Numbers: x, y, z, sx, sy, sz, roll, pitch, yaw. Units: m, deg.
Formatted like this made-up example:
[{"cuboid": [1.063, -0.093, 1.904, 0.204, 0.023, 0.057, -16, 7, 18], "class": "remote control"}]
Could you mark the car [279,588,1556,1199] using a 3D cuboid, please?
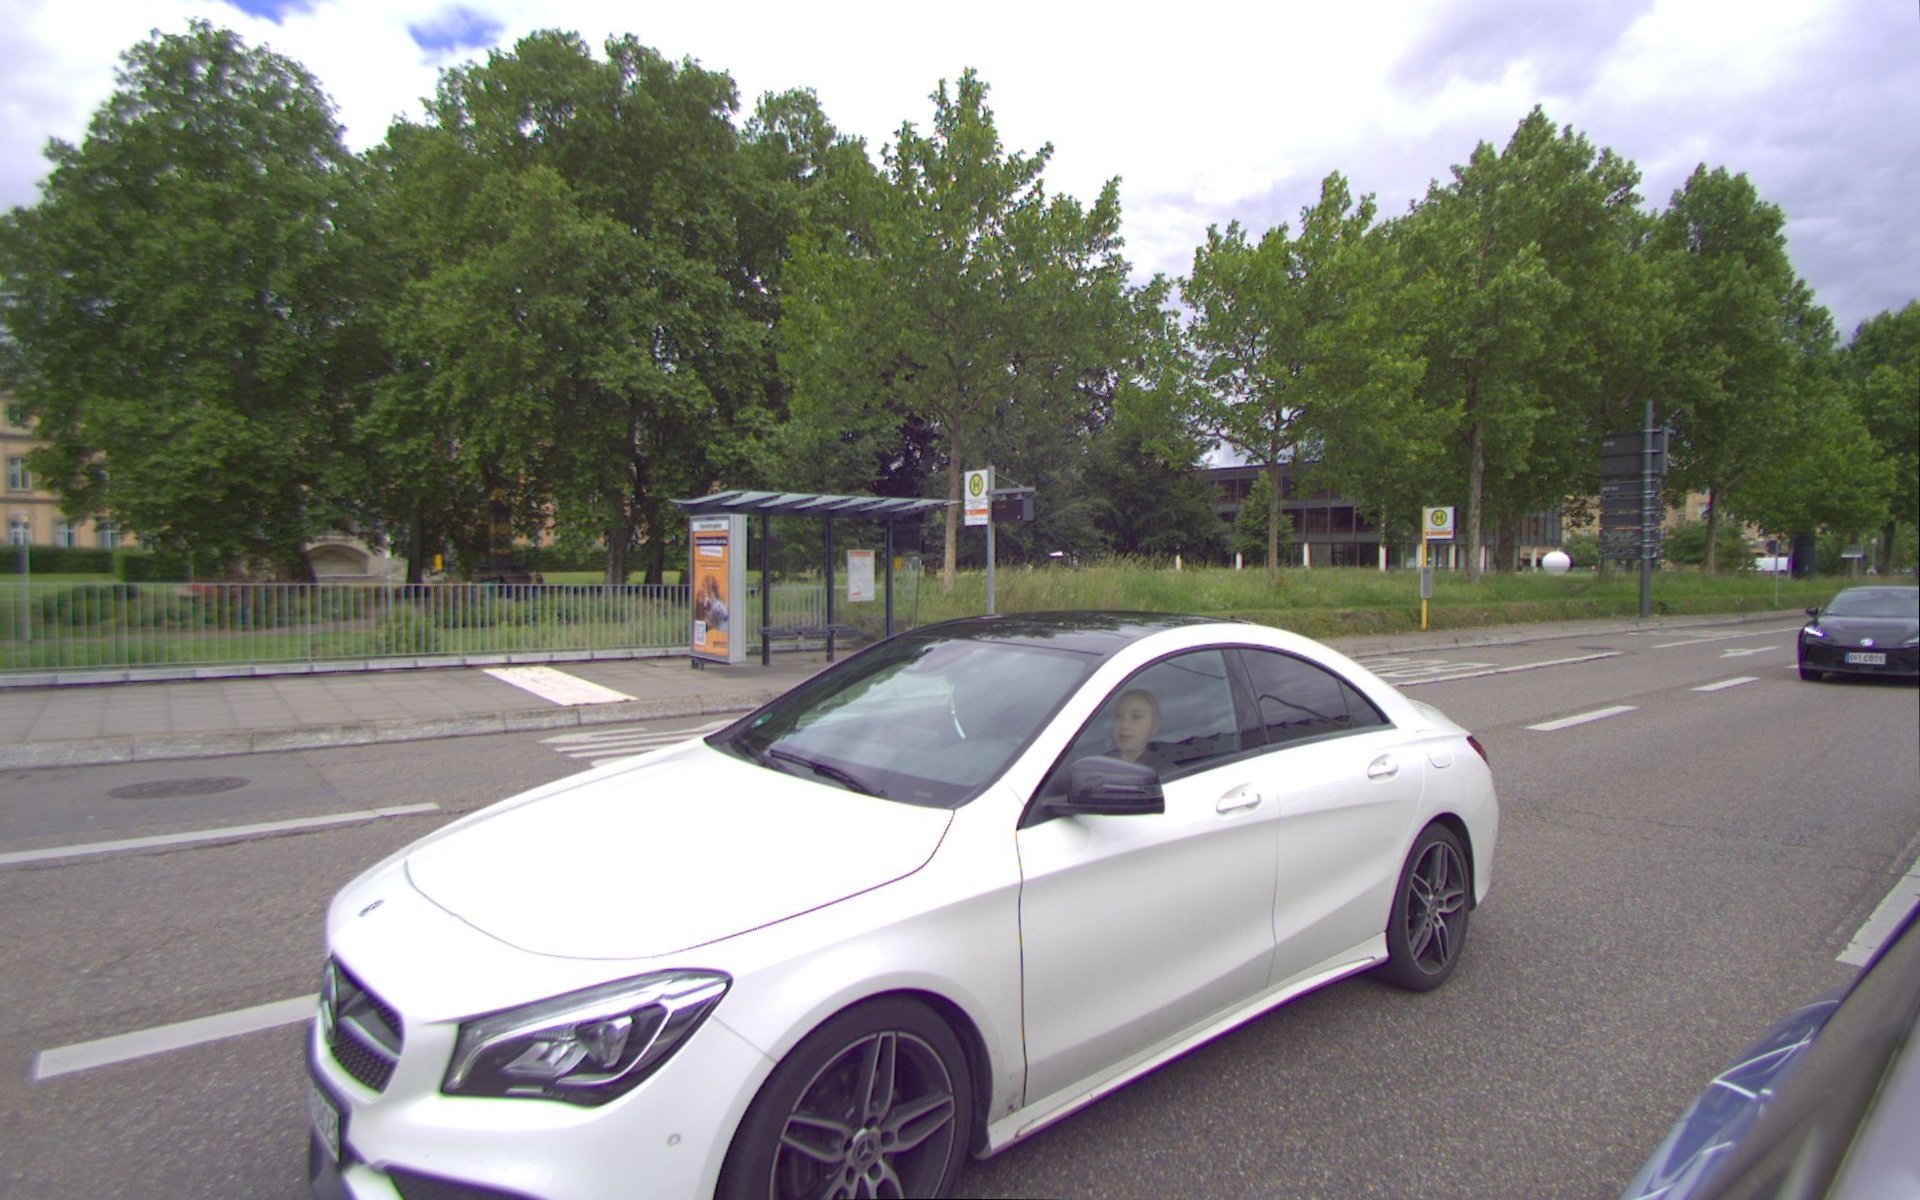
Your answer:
[{"cuboid": [0.294, 0.710, 3.667, 4.446, 1.437, 1.799, -1, 2, -39], "class": "car"}]

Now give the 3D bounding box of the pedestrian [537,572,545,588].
[{"cuboid": [-36.273, -1.757, 87.603, 0.401, 1.347, 0.465, -1, 0, 21], "class": "pedestrian"}]

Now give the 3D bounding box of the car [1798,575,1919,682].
[{"cuboid": [15.042, 0.371, 16.164, 4.020, 1.508, 1.852, -1, 2, -40], "class": "car"}]

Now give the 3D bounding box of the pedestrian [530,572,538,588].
[{"cuboid": [-37.070, -1.739, 87.980, 0.401, 1.347, 0.465, -1, 0, 21], "class": "pedestrian"}]

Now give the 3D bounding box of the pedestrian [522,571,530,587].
[{"cuboid": [-37.840, -1.838, 88.318, 0.401, 1.347, 0.465, -1, 0, 21], "class": "pedestrian"}]

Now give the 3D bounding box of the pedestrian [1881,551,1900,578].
[{"cuboid": [72.150, -2.733, 78.493, 1.160, 2.039, 0.891, -2, 0, -40], "class": "pedestrian"}]
